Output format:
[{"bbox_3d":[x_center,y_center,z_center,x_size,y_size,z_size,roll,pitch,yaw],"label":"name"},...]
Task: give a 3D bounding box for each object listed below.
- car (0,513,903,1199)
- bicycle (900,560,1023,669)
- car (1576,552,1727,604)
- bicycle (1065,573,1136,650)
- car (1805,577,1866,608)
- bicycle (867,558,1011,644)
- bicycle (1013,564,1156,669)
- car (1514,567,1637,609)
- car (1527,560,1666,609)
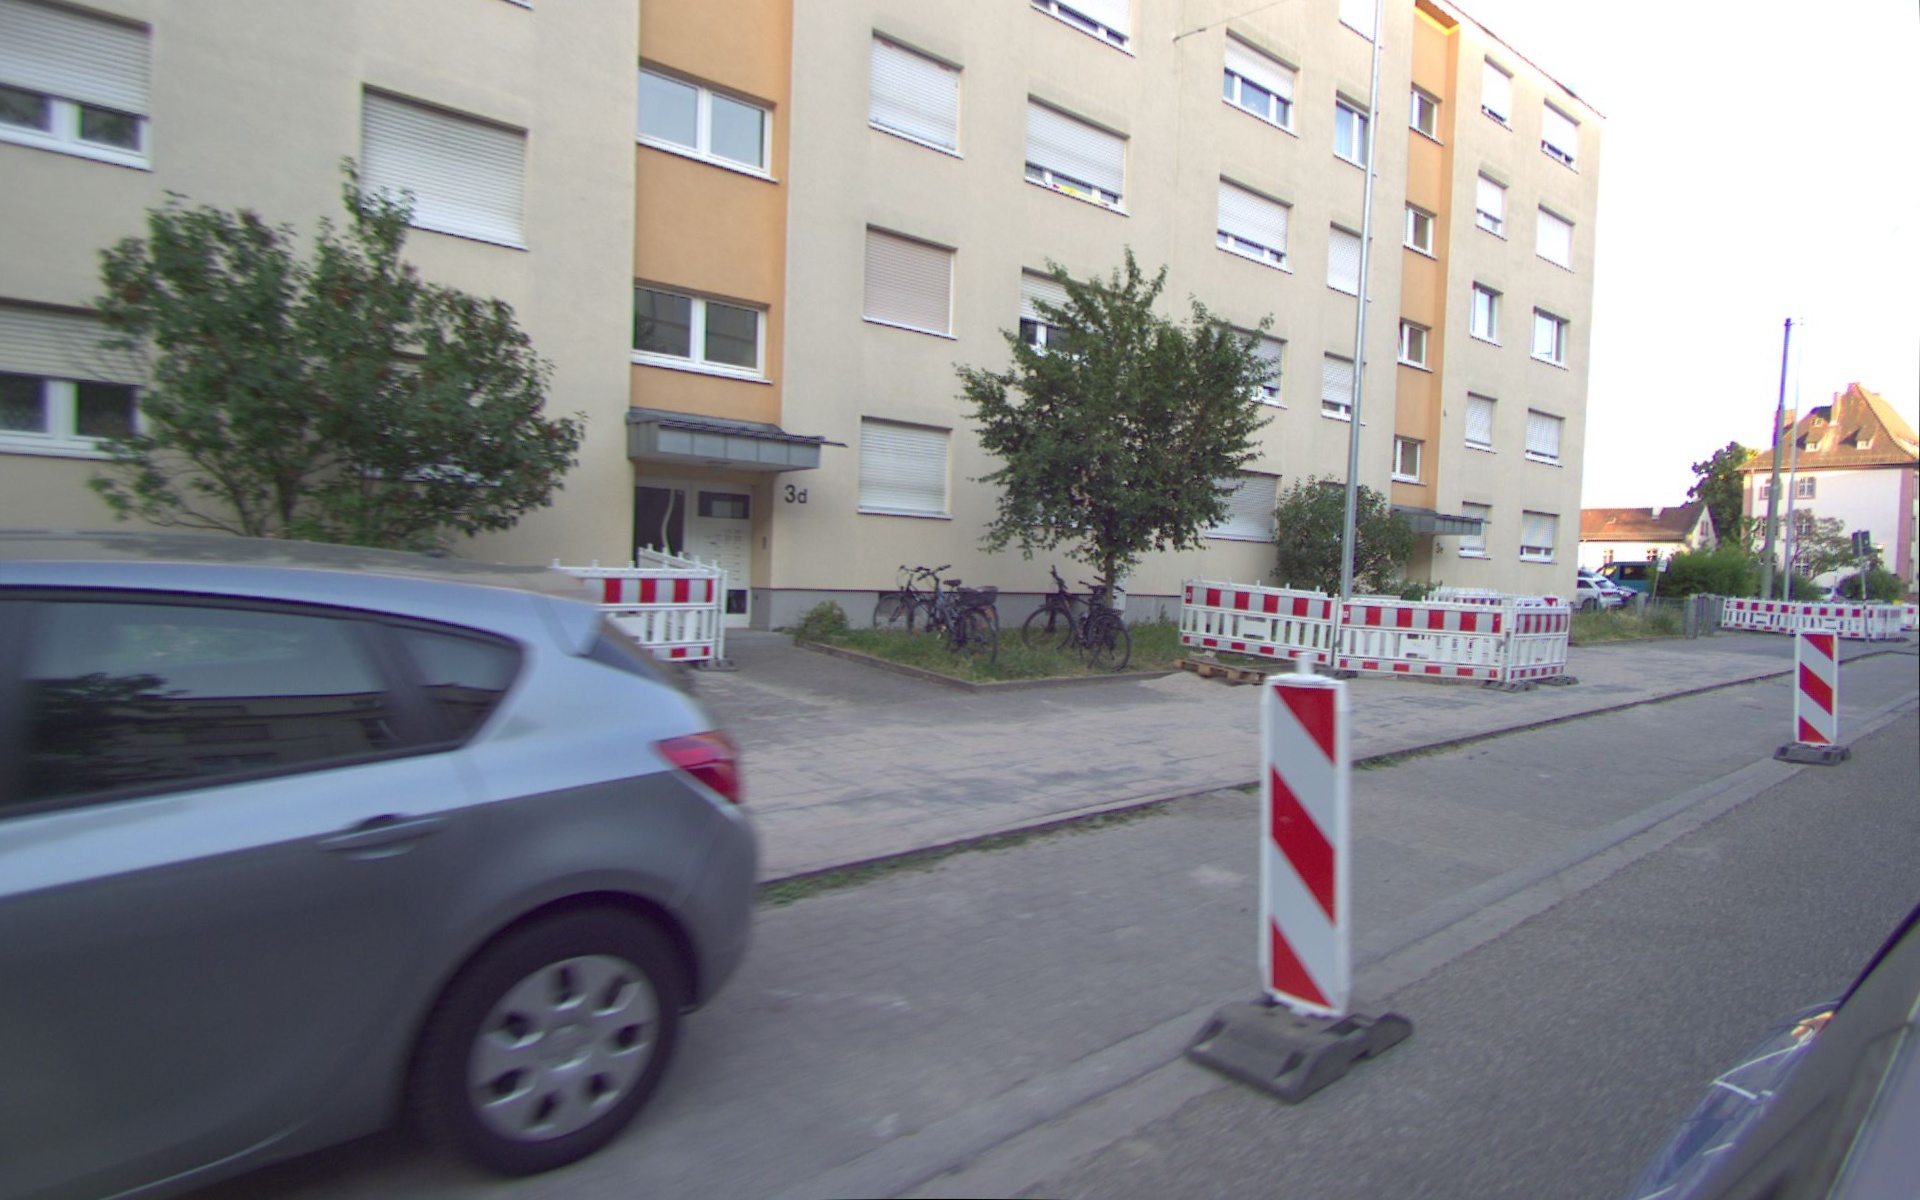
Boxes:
[{"bbox_3d":[-2.488,0.595,2.131,4.492,1.508,1.782,0,6,-40],"label":"car"},{"bbox_3d":[-0.022,0.127,11.710,0.547,0.998,1.762,1,7,-31],"label":"bicycle"},{"bbox_3d":[30.787,-1.016,45.201,2.245,2.156,5.041,0,2,-33],"label":"car"},{"bbox_3d":[1.962,0.124,13.967,0.551,0.874,1.604,6,6,21],"label":"bicycle"},{"bbox_3d":[50.532,-0.419,58.379,4.722,1.650,1.919,0,2,-40],"label":"car"},{"bbox_3d":[-0.271,-0.006,13.468,1.787,0.931,0.557,5,6,9],"label":"bicycle"},{"bbox_3d":[1.502,0.165,12.545,0.548,1.034,1.817,0,8,-39],"label":"bicycle"},{"bbox_3d":[24.726,-0.508,40.760,1.664,1.470,3.842,0,3,-38],"label":"car"},{"bbox_3d":[26.662,-0.695,42.519,1.968,1.832,4.492,0,3,-38],"label":"car"}]
